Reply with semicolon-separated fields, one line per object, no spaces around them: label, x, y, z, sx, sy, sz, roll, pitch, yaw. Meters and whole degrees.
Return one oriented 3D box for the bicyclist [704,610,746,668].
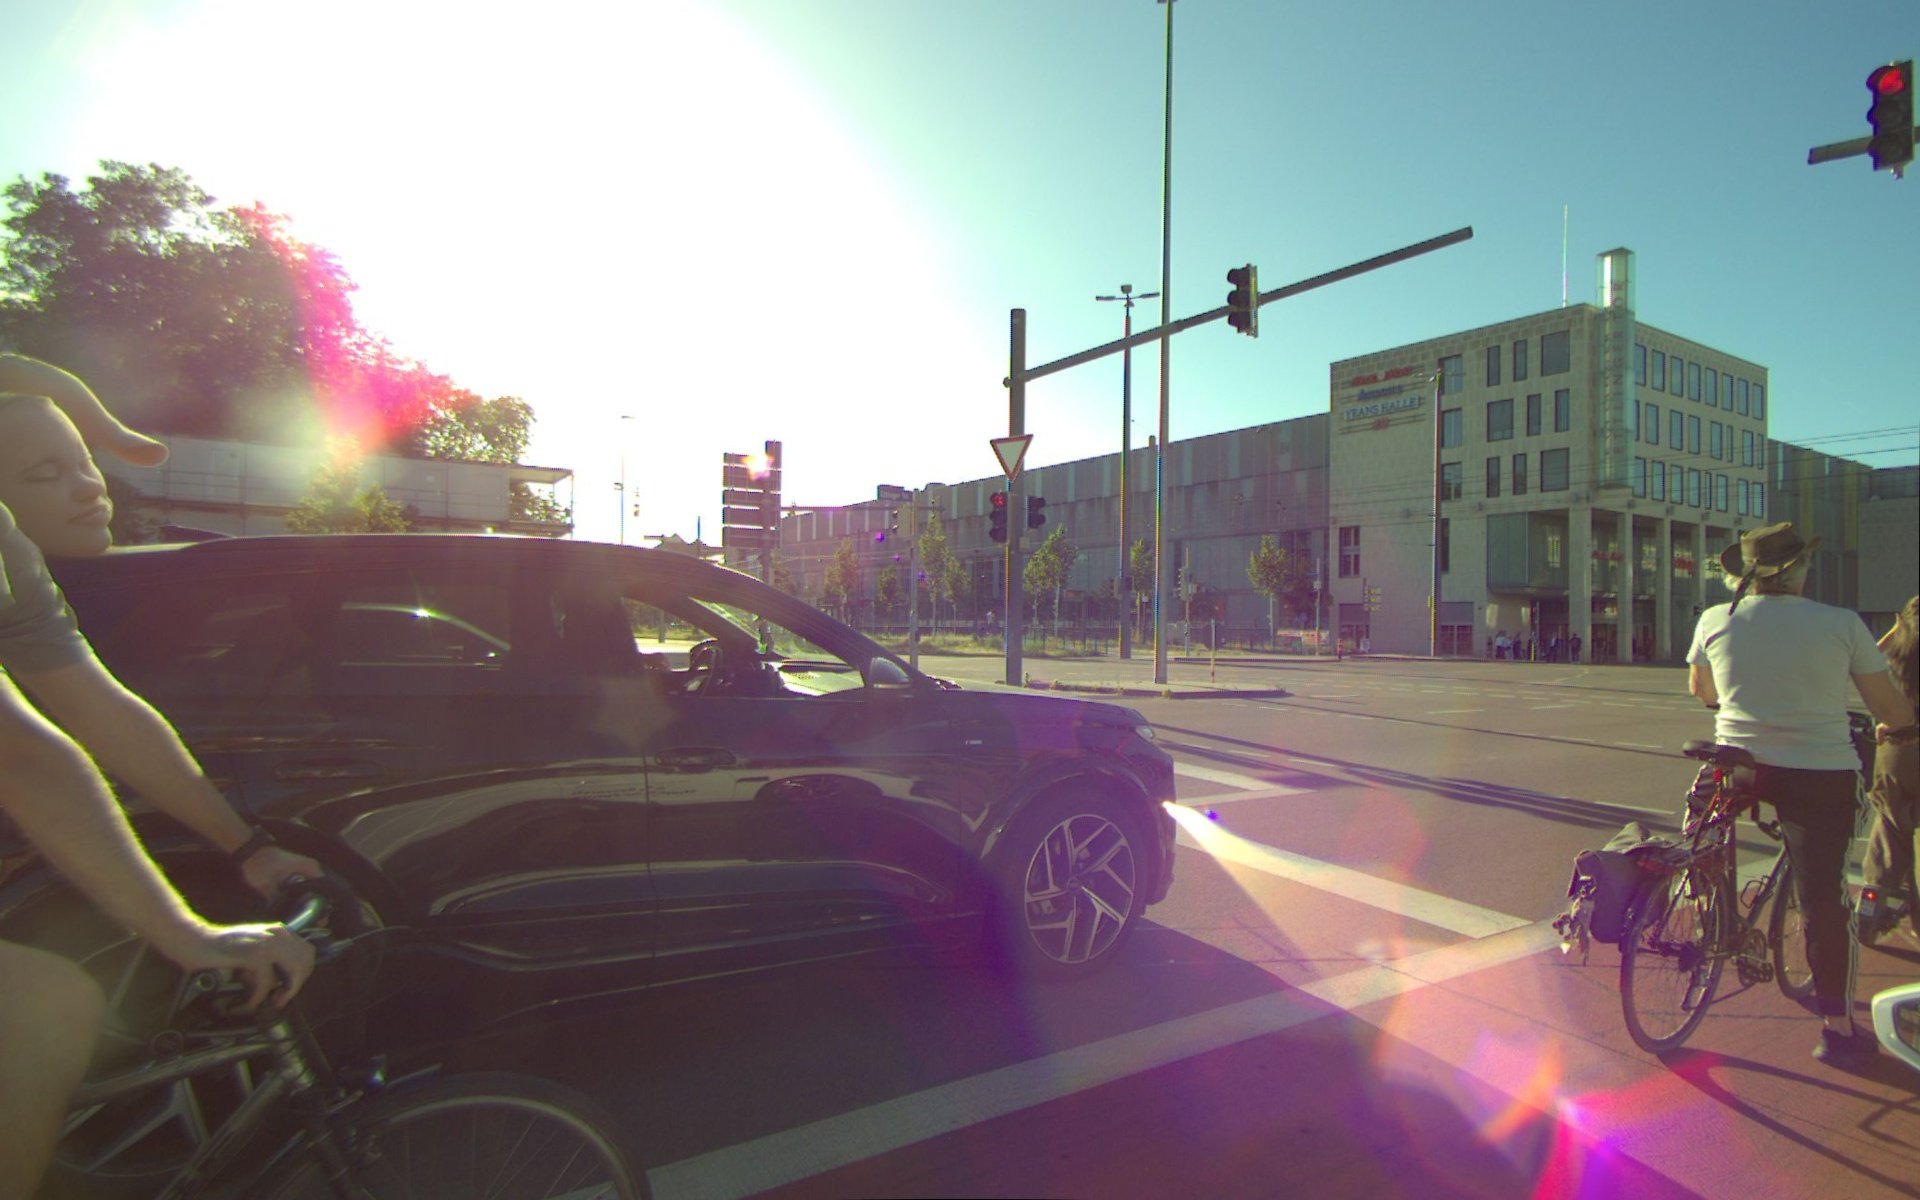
bicyclist;-8.472;1.392;36.268;1.078;2.040;0.961;2;0;15

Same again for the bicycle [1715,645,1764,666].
bicycle;46.963;3.331;60.529;0.605;1.238;2.295;1;-1;-31

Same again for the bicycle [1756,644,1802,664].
bicycle;54.280;3.584;66.568;0.605;1.238;2.295;1;-1;-31

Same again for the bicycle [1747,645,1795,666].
bicycle;51.276;3.478;63.553;0.605;1.238;2.295;1;-1;-31

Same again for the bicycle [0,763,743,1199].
bicycle;-1.334;0.890;1.304;1.949;1.124;0.643;1;0;-33

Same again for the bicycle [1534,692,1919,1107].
bicycle;2.875;0.960;3.685;1.810;1.171;0.482;2;0;-31

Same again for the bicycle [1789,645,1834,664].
bicycle;58.852;3.738;69.430;0.605;1.238;2.295;1;-1;-31

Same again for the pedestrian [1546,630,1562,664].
pedestrian;34.235;2.683;57.906;0.705;1.910;0.785;2;0;33

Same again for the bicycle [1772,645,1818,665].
bicycle;55.519;3.623;66.831;0.605;1.238;2.295;1;-1;-31

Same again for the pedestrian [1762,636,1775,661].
pedestrian;55.726;3.316;69.217;0.602;1.702;0.549;1;0;-40

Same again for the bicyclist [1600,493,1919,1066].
bicyclist;2.865;0.555;3.558;0.856;1.743;0.657;2;0;-30

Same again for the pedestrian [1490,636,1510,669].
pedestrian;32.161;3.132;59.871;0.710;1.910;0.779;2;0;-36

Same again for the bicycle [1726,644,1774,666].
bicycle;48.696;3.391;61.961;0.605;1.238;2.295;1;-1;-31

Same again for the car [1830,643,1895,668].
car;49.782;3.066;55.411;3.956;1.359;1.621;2;-4;-32

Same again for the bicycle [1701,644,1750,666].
bicycle;45.761;3.292;60.085;0.605;1.238;2.295;1;-1;-31

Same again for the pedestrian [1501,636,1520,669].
pedestrian;33.239;3.169;60.670;0.780;1.910;0.709;2;0;-37

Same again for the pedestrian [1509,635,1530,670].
pedestrian;34.201;3.197;61.370;0.767;2.040;0.876;2;0;-41

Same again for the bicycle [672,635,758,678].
bicycle;-8.876;2.016;36.368;2.905;1.388;0.970;2;0;16

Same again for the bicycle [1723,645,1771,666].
bicycle;48.046;3.368;61.340;0.605;1.238;2.295;1;-1;-31

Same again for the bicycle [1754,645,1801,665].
bicycle;52.901;3.534;65.020;0.605;1.238;2.295;1;-1;-31

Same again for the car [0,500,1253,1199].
car;-1.158;0.631;3.876;4.630;1.656;1.760;1;0;-32

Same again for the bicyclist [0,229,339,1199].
bicyclist;-1.312;0.415;1.307;0.833;1.627;0.712;1;0;-32

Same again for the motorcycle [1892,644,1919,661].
motorcycle;70.739;3.911;74.856;0.508;1.223;1.786;1;0;-44

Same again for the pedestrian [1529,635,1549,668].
pedestrian;34.406;3.047;59.692;0.710;1.910;0.779;2;0;-36

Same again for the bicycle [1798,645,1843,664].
bicycle;59.823;3.769;69.854;0.605;1.238;2.295;1;-1;-31

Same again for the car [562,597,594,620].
car;-32.936;0.728;86.520;1.785;1.908;3.964;2;0;-33

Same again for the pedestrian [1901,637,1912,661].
pedestrian;71.097;3.675;75.456;0.579;1.702;0.516;1;1;-43

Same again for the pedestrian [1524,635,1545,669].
pedestrian;33.396;3.010;58.379;0.710;1.910;0.779;2;0;-36

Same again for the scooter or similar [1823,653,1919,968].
scooter or similar;4.488;0.925;4.719;1.186;1.311;0.541;2;0;-45

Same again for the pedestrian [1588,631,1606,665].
pedestrian;35.871;2.697;56.586;0.784;1.868;0.863;0;-1;28

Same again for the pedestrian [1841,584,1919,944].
pedestrian;4.629;0.761;4.811;0.568;1.654;0.543;2;0;-45

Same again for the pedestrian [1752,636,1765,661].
pedestrian;55.328;3.326;69.606;0.610;1.702;0.565;1;0;-39

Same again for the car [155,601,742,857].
car;-3.590;0.789;7.501;3.562;1.505;1.485;1;0;-30

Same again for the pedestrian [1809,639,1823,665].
pedestrian;56.263;3.409;66.004;0.639;1.742;0.449;0;-1;37

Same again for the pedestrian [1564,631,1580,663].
pedestrian;35.629;2.733;58.427;0.784;1.868;0.862;0;-1;32

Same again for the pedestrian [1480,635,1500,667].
pedestrian;32.407;3.114;61.398;0.710;1.910;0.779;2;0;-36
